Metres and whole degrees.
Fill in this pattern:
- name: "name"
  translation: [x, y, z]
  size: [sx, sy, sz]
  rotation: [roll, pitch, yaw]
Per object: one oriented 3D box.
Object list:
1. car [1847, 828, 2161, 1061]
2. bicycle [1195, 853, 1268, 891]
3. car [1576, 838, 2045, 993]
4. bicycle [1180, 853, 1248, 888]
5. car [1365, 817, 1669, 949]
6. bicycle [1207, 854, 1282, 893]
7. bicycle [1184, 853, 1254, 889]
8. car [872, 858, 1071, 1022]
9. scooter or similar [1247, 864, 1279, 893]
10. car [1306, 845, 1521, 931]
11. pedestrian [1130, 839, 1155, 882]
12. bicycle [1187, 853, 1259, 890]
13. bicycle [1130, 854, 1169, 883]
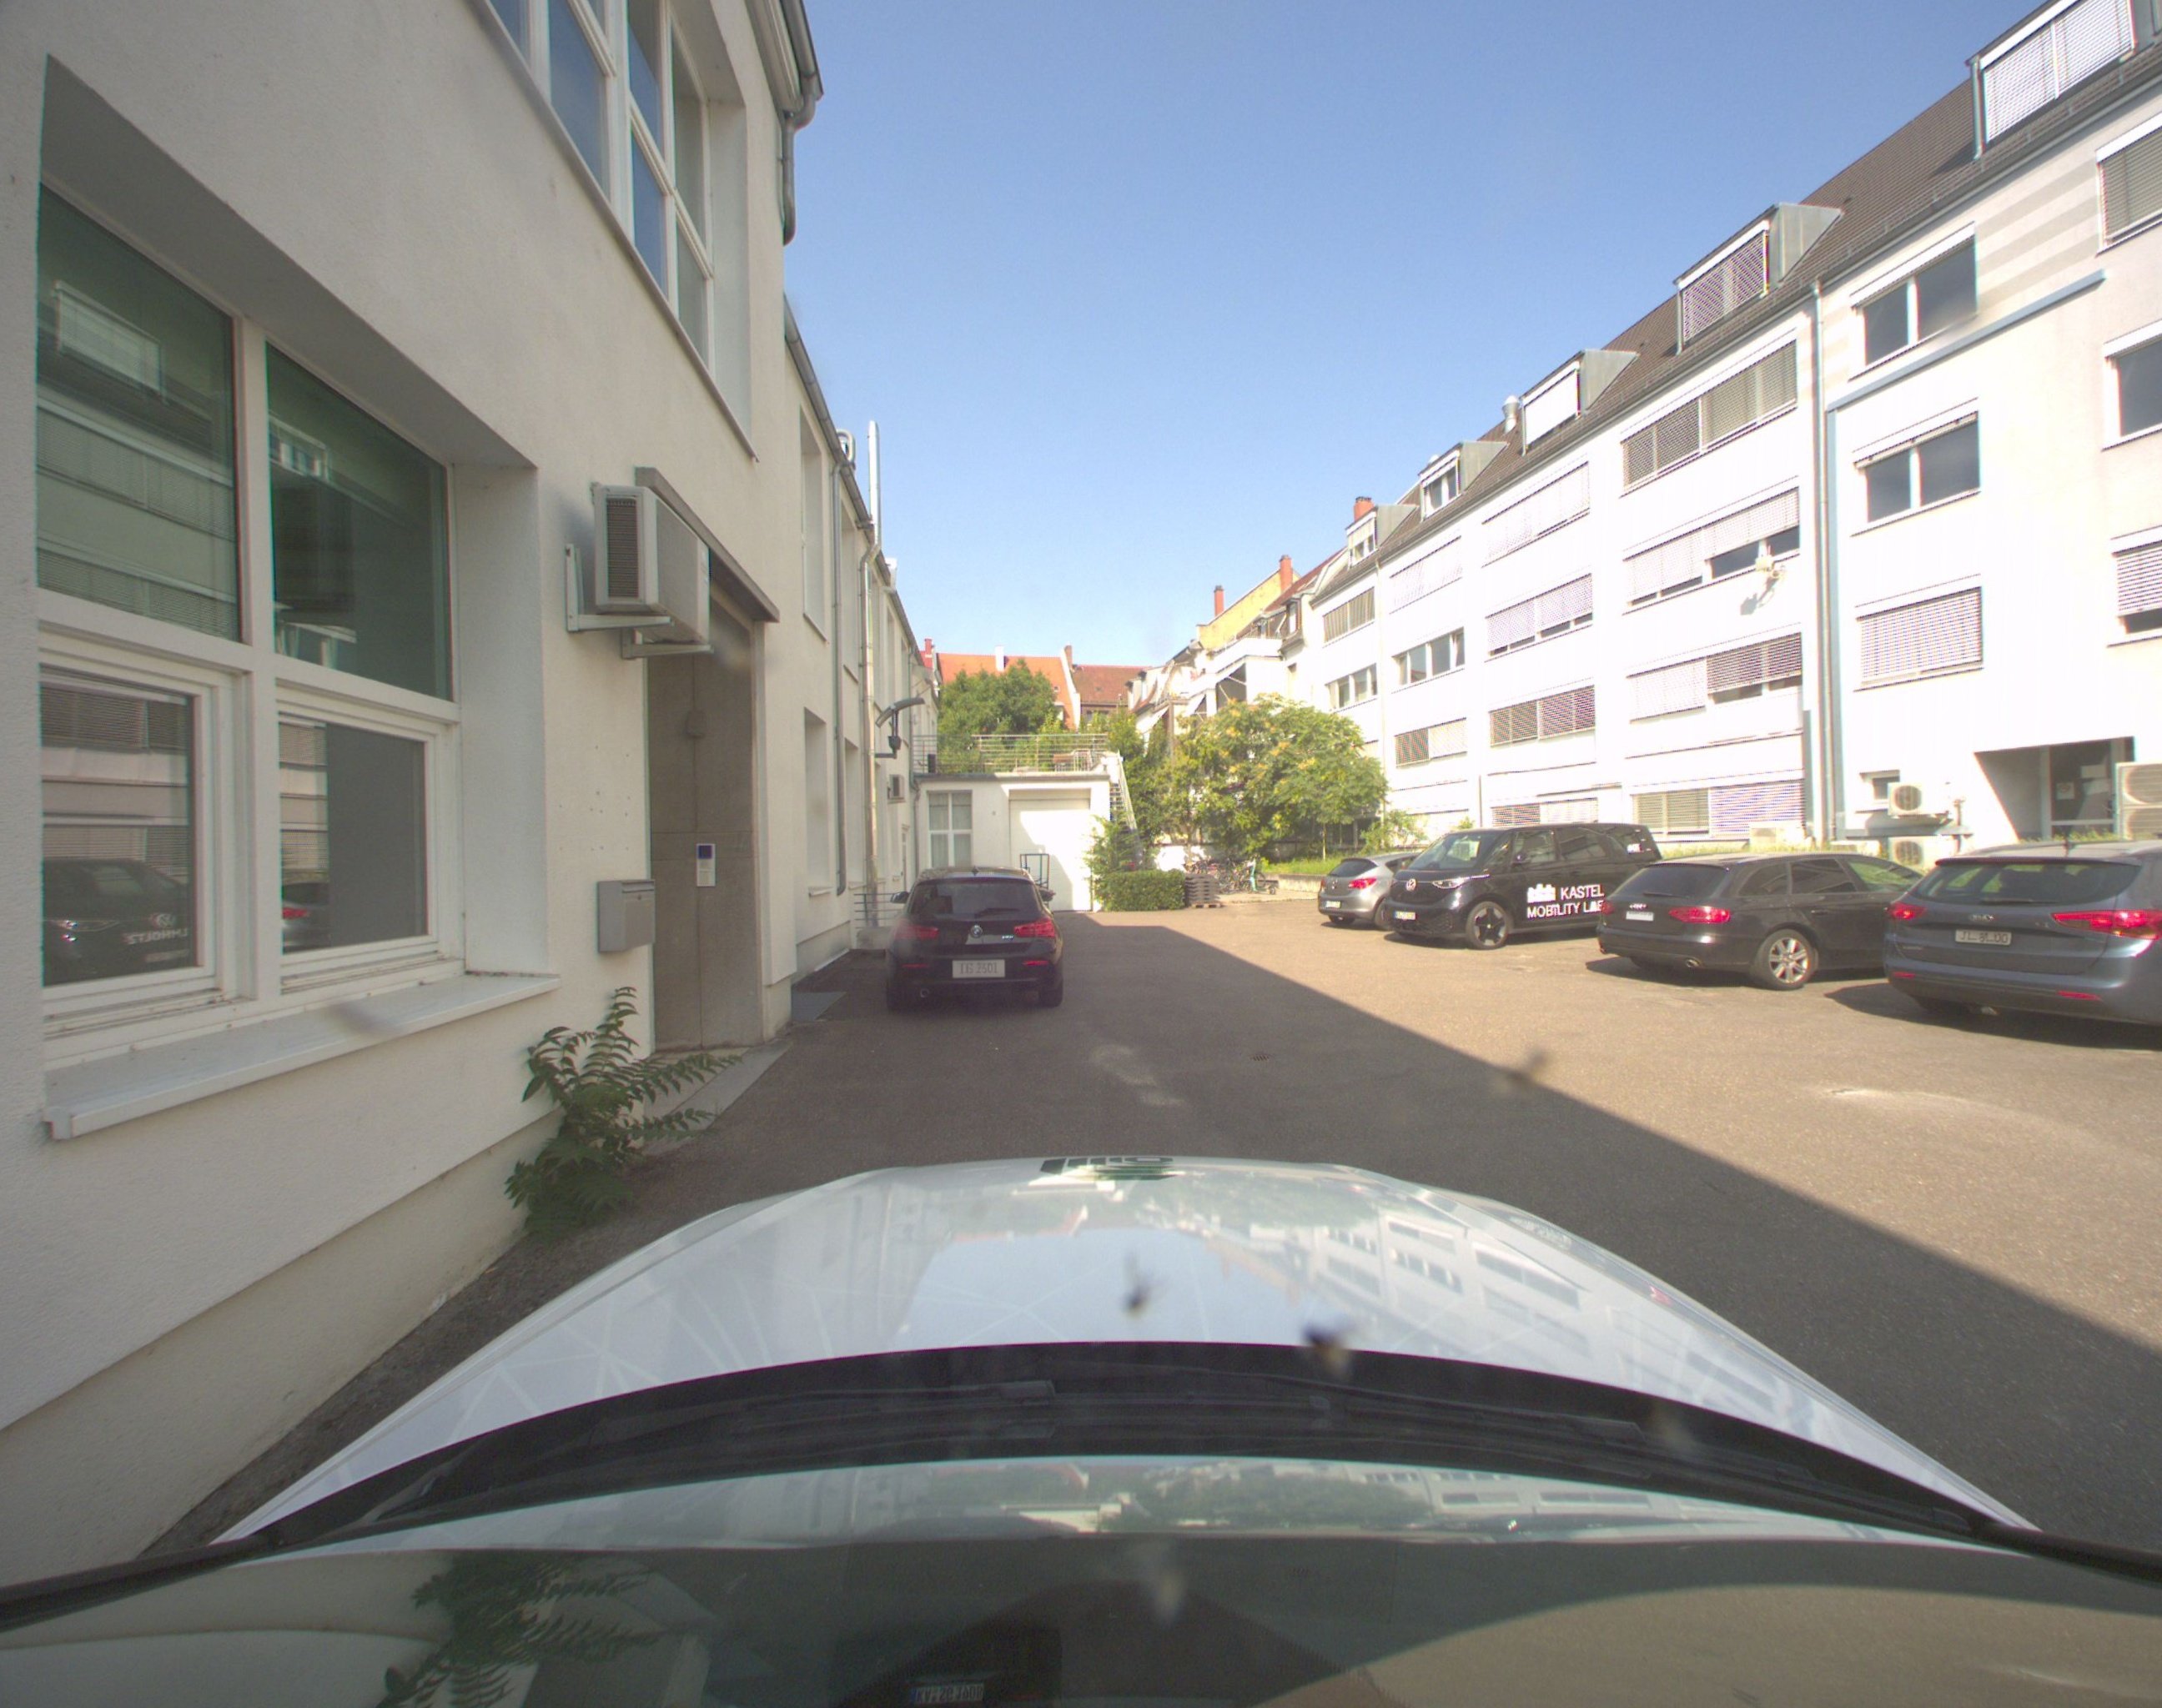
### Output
- name: "car"
  translation: [8.783, 0.551, 6.592]
  size: [4.048, 1.478, 1.736]
  rotation: [-2, 0, -11]
- name: "bicycle"
  translation: [5.098, 0.614, 27.612]
  size: [2.408, 1.246, 0.525]
  rotation: [-1, 0, -7]
- name: "car"
  translation: [8.215, 0.611, 9.337]
  size: [4.230, 1.437, 1.686]
  rotation: [-2, 0, -8]
- name: "bicycle"
  translation: [4.841, 0.601, 29.721]
  size: [2.408, 1.246, 0.525]
  rotation: [-1, 0, -7]
- name: "car"
  translation: [7.192, 0.398, 13.538]
  size: [4.344, 1.859, 1.904]
  rotation: [-2, 0, -16]
- name: "bicycle"
  translation: [5.418, 0.625, 26.986]
  size: [2.408, 1.246, 0.525]
  rotation: [-1, 0, -7]
- name: "bicycle"
  translation: [4.935, 0.597, 29.071]
  size: [2.408, 1.246, 0.525]
  rotation: [-1, 0, -7]
- name: "car"
  translation: [-1.290, 0.784, 9.519]
  size: [1.792, 1.428, 4.124]
  rotation: [-1, 0, -9]
- name: "scooter or similar"
  translation: [5.960, 0.806, 26.708]
  size: [0.362, 0.924, 0.987]
  rotation: [-1, 0, -44]
- name: "car"
  translation: [6.684, 0.618, 16.415]
  size: [3.909, 1.466, 1.652]
  rotation: [-2, 0, -20]
- name: "pedestrian"
  translation: [2.623, 0.266, 34.534]
  size: [0.850, 1.771, 0.615]
  rotation: [-1, 0, 42]
- name: "bicycle"
  translation: [4.953, 0.613, 28.399]
  size: [2.408, 1.246, 0.525]
  rotation: [-1, 0, -7]
- name: "bicycle"
  translation: [2.913, 0.606, 34.420]
  size: [0.483, 1.143, 2.006]
  rotation: [-2, 1, 42]
